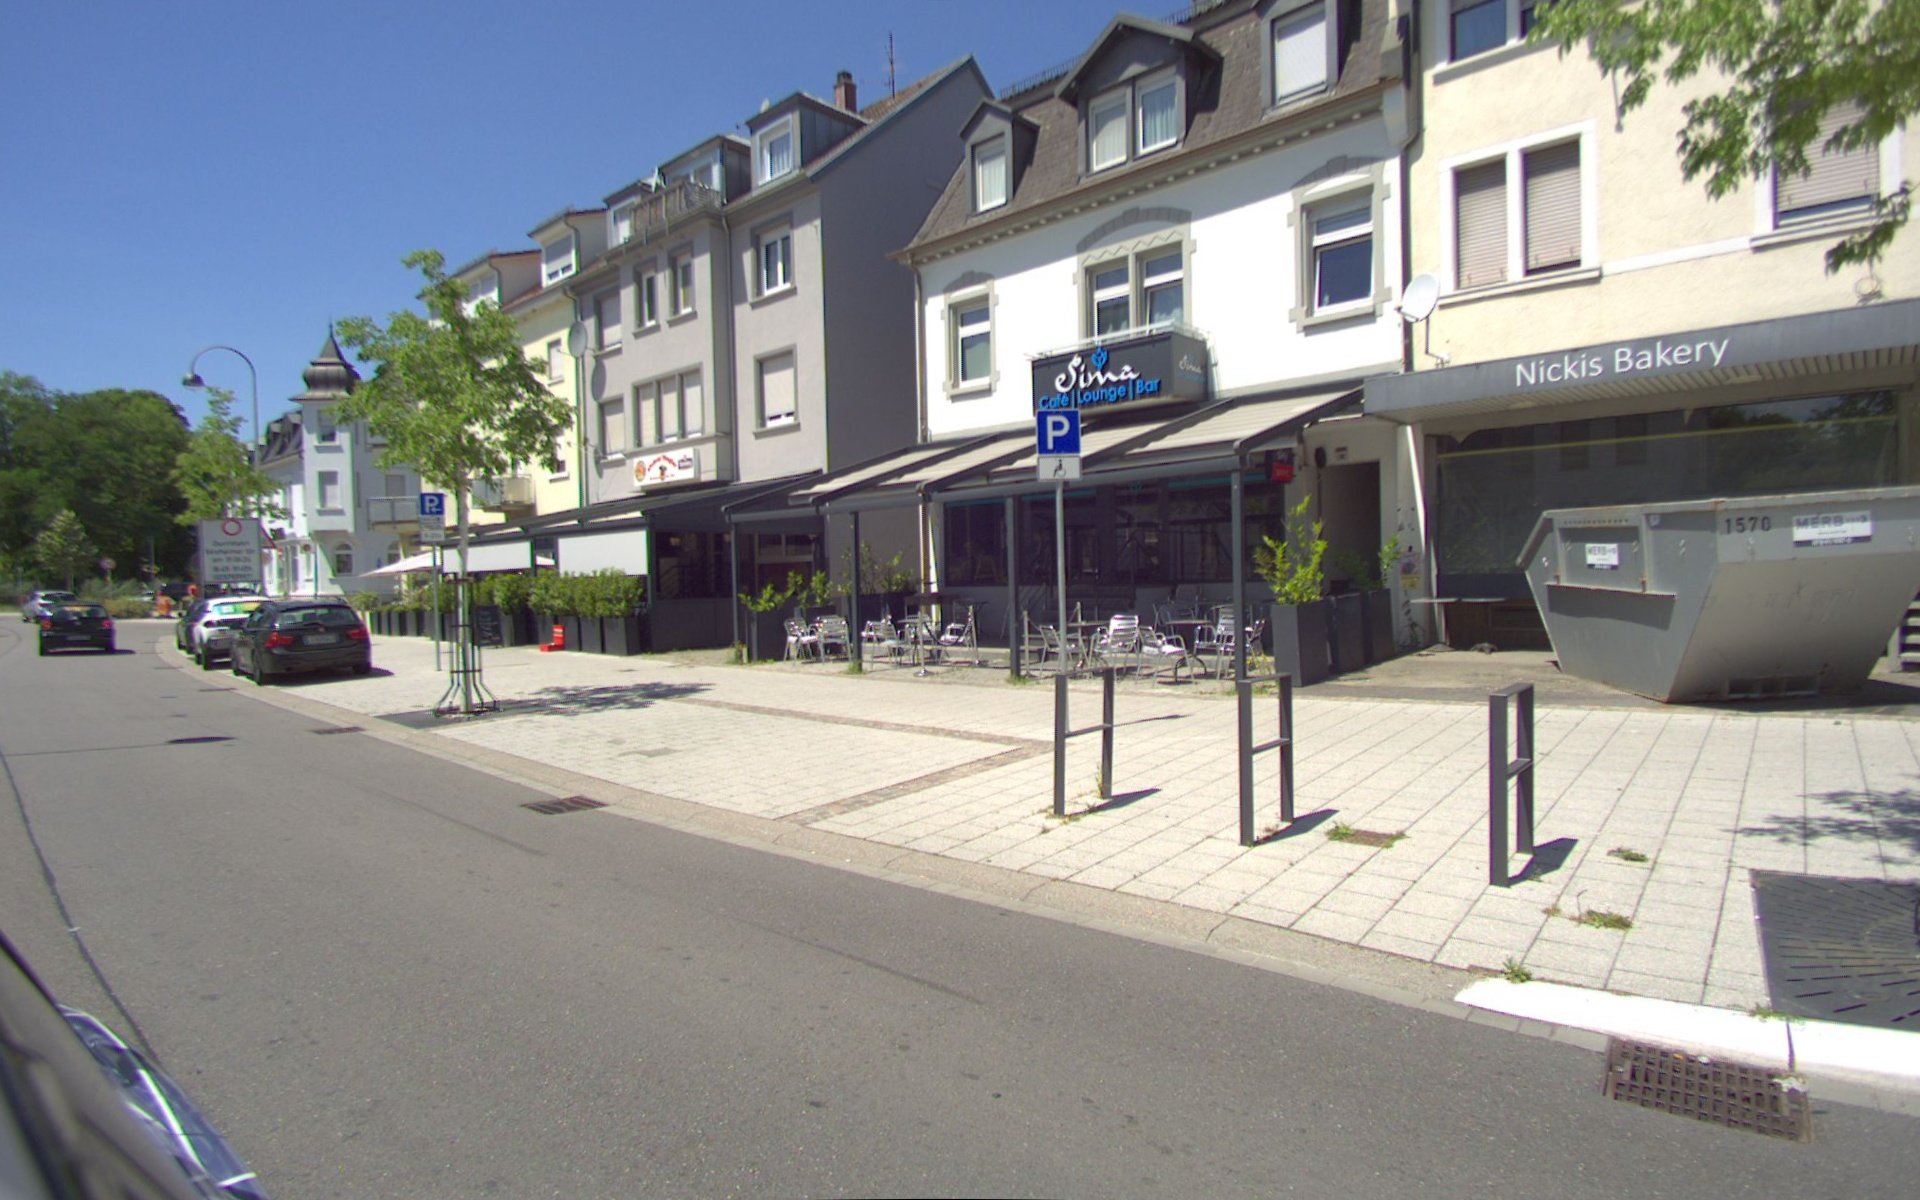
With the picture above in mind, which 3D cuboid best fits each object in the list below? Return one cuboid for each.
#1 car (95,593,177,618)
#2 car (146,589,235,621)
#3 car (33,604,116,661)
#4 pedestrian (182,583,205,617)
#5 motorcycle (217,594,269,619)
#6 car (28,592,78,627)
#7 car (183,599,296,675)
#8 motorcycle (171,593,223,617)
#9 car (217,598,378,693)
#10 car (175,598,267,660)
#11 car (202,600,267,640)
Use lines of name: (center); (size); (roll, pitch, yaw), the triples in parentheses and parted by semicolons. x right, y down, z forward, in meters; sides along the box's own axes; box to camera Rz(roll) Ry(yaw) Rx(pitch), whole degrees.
car: (-53.214, 0.348, 65.426); (1.815, 1.548, 3.928); (-1, 0, 9)
car: (-45.134, 0.269, 59.381); (4.019, 1.752, 1.817); (-1, 0, -41)
car: (-24.789, 0.866, 28.429); (1.595, 1.465, 3.871); (1, -1, -39)
pedestrian: (-40.814, 0.016, 53.898); (0.801, 1.779, 0.750); (-1, 0, 34)
motorcycle: (-40.239, 0.354, 56.847); (2.290, 1.335, 0.726); (-1, 0, -44)
car: (-42.403, 0.417, 47.334); (1.661, 1.495, 4.091); (-3, 2, -42)
car: (-16.309, 0.769, 22.834); (1.660, 1.495, 3.774); (-4, 2, -41)
motorcycle: (-43.580, 0.255, 57.819); (2.290, 1.335, 0.726); (-1, 0, -44)
car: (-12.462, 0.745, 18.908); (1.734, 1.456, 4.454); (-5, 4, -43)
car: (-20.738, 0.754, 28.330); (1.660, 1.495, 4.346); (-4, 2, -41)
car: (-27.221, 0.771, 38.040); (1.871, 1.452, 3.785); (1, -2, -35)
